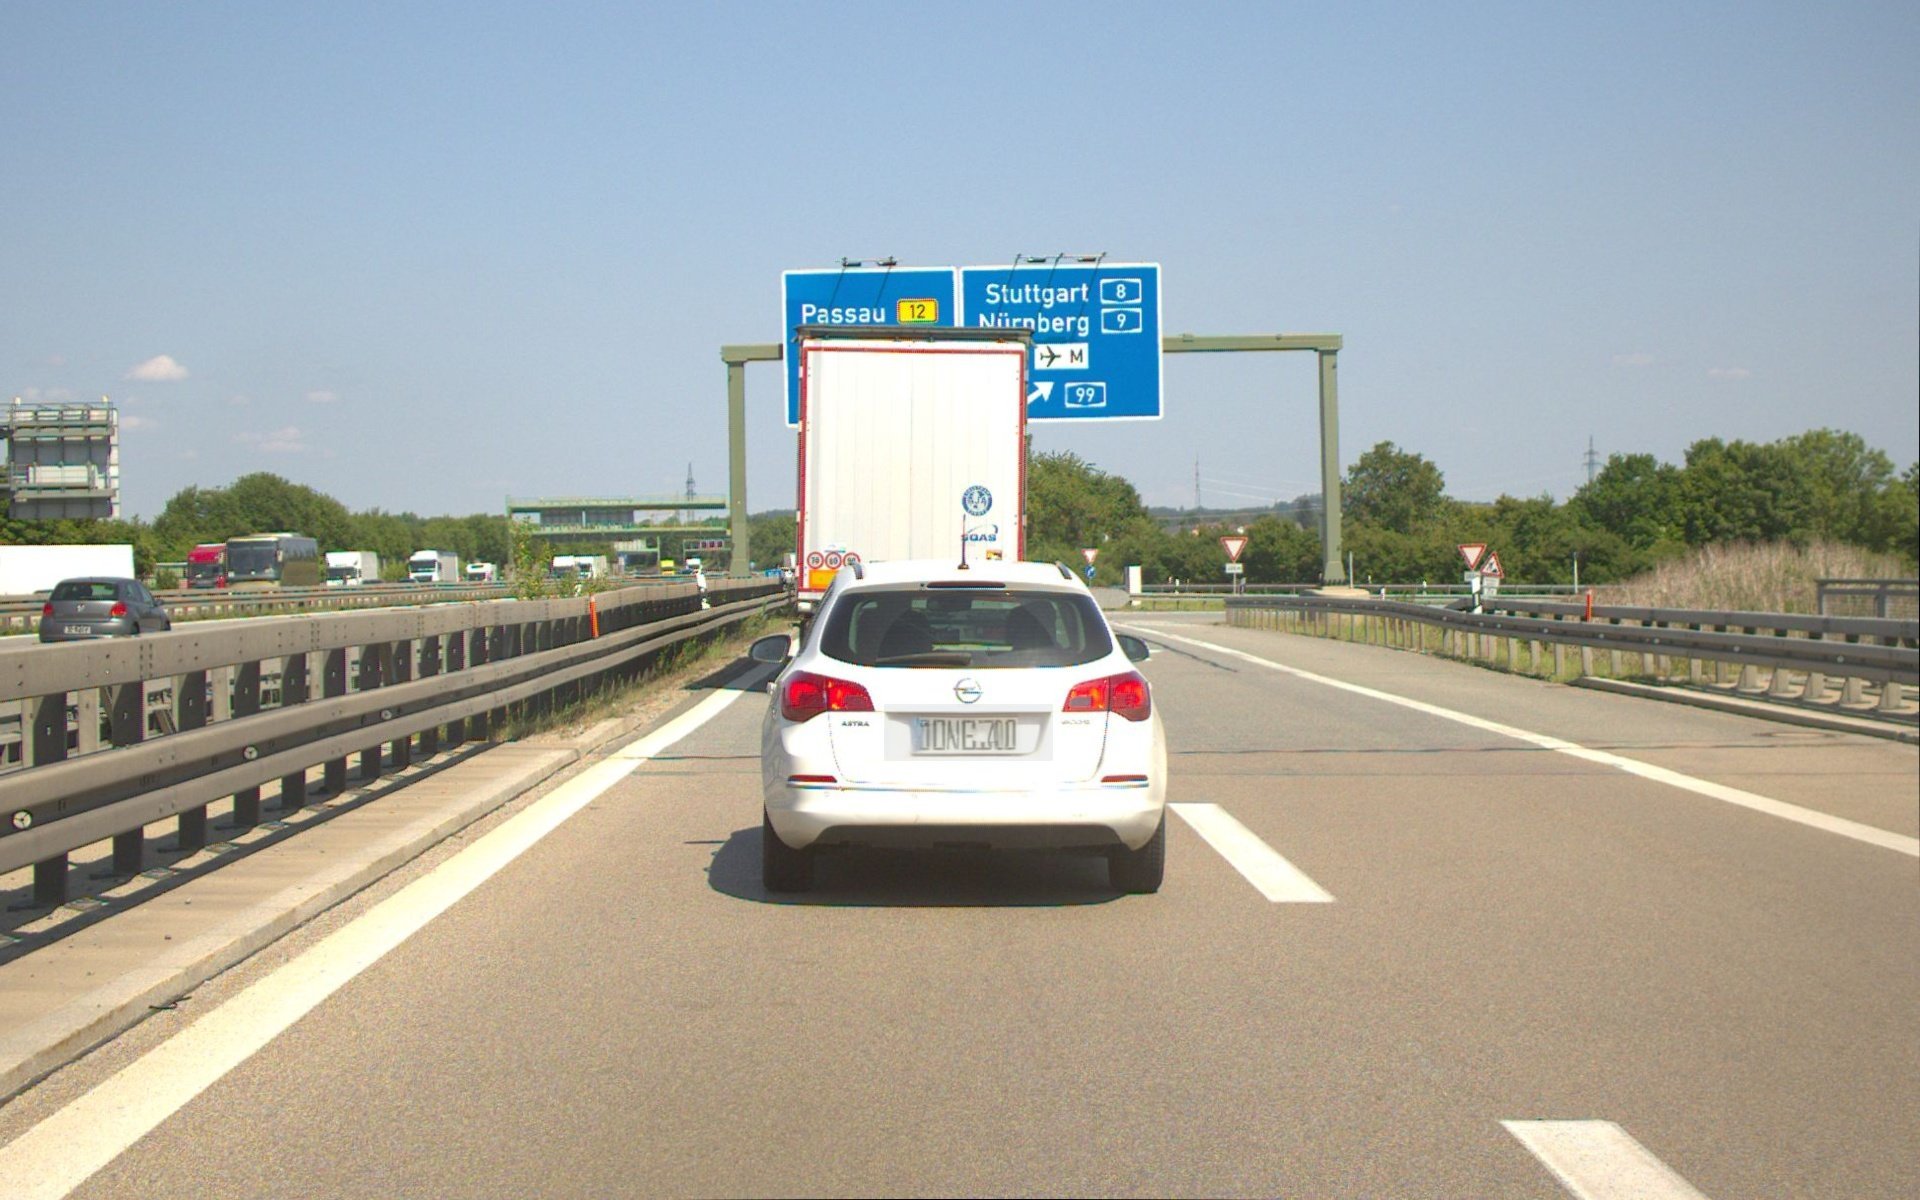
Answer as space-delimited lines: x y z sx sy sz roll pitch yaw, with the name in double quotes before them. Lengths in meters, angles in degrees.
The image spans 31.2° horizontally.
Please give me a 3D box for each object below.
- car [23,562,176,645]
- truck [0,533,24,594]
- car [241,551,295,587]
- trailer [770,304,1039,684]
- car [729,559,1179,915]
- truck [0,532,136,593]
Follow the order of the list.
"car" -15.563 0.033 62.376 1.762 1.417 4.217 0 1 -1
"truck" -53.058 -1.968 185.365 1.996 3.289 5.380 0 1 25
"car" -32.227 -1.476 160.211 1.788 1.634 4.000 -1 1 -1
"trailer" -0.669 -1.184 43.367 2.912 4.131 11.258 1 0 -1
"car" -0.051 0.543 16.405 1.854 1.438 4.372 0 1 -1
"truck" -50.379 -2.126 192.603 1.995 3.289 12.160 0 1 19
